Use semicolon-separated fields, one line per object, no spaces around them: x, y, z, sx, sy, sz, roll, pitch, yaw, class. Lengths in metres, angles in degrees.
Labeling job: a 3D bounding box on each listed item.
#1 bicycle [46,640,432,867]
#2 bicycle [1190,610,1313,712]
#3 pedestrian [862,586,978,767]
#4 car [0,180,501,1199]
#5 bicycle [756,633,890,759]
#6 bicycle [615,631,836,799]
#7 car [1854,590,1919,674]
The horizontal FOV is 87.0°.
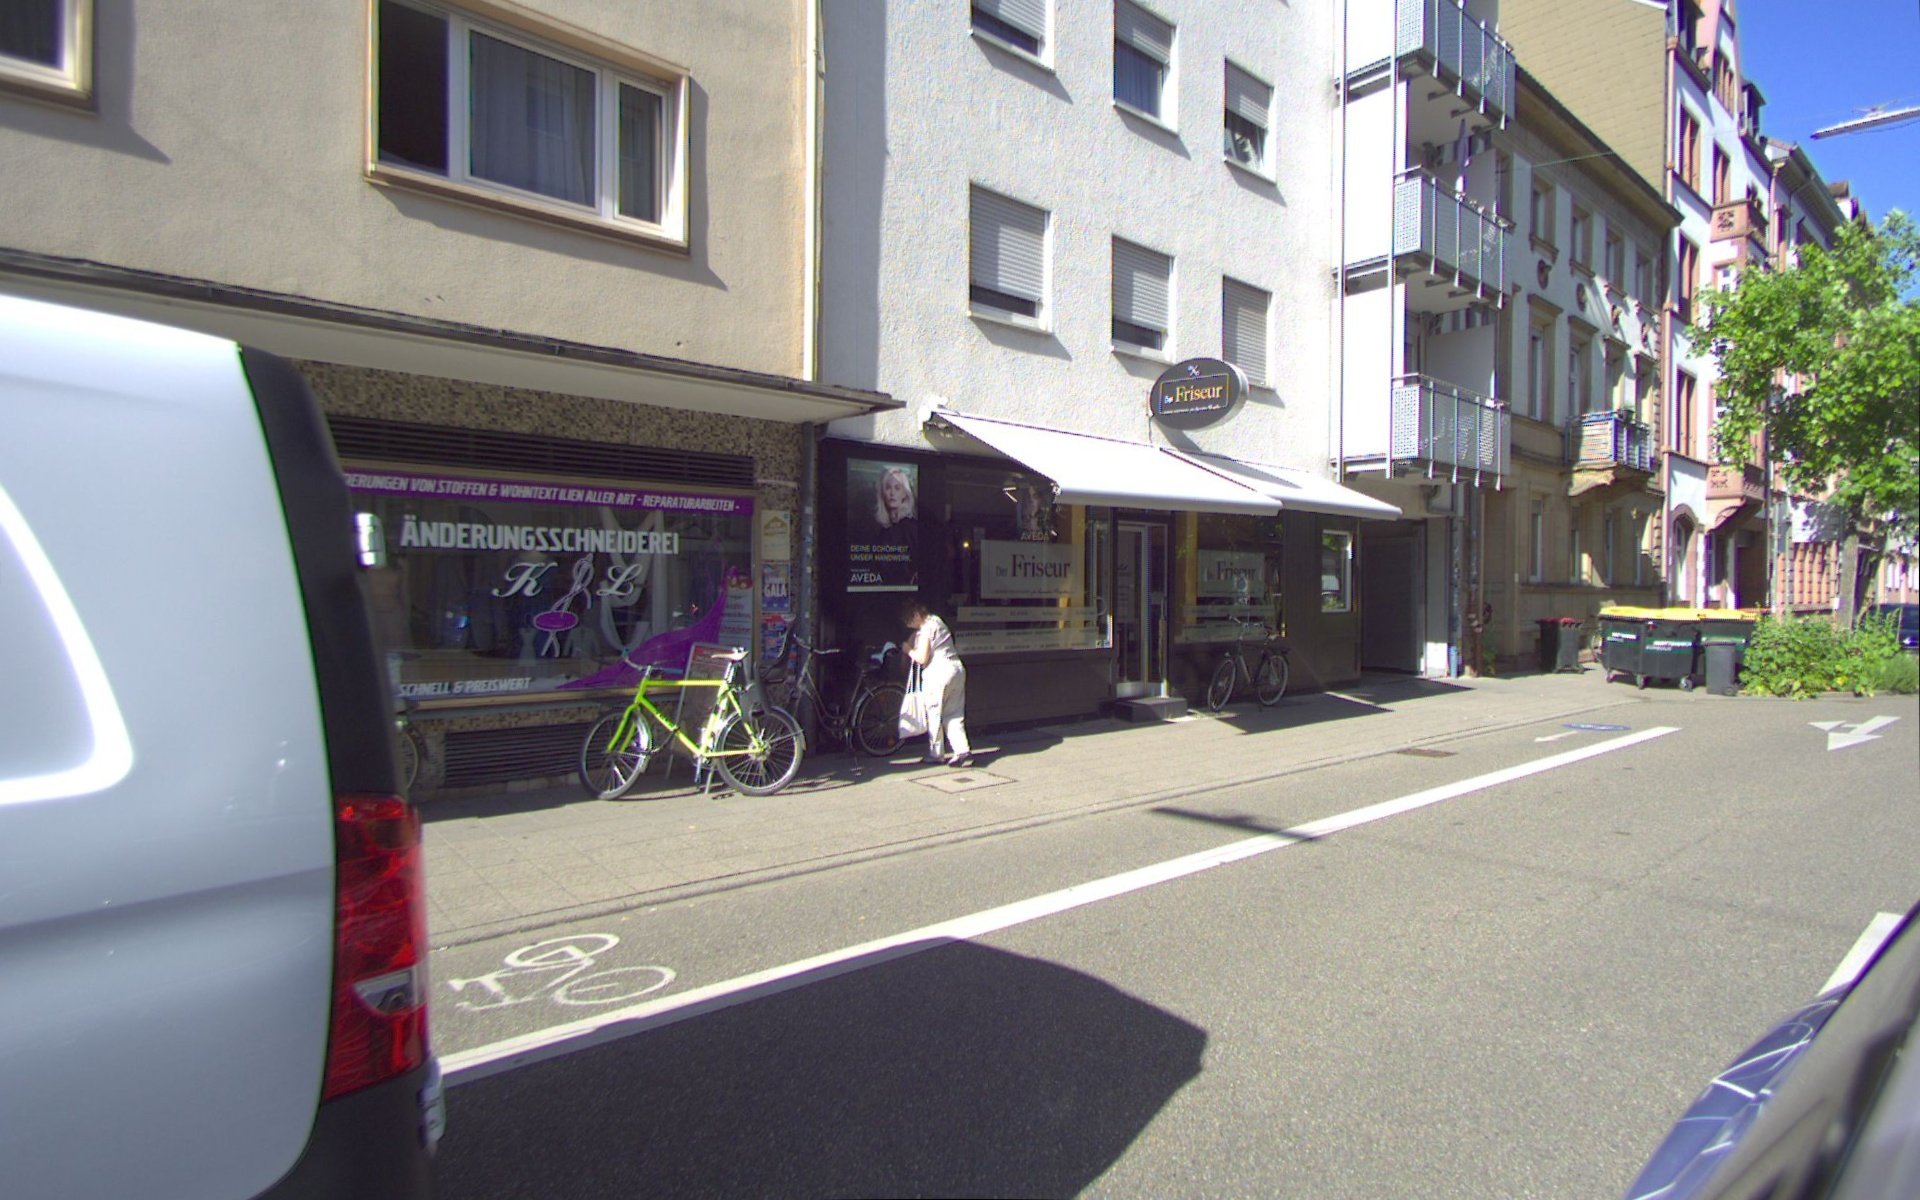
-4.087;0.818;5.875;1.766;1.098;0.408;0;3;-36;bicycle
3.696;0.731;12.771;1.743;1.157;0.598;0;3;-41;bicycle
-0.355;0.627;8.836;0.774;1.459;0.615;4;3;45;pedestrian
-2.980;0.528;0.405;4.750;1.833;1.971;-1;1;-42;car
-1.181;0.810;8.868;1.155;0.995;0.375;0;0;-43;bicycle
-1.766;0.823;7.677;1.475;1.120;0.719;1;0;18;bicycle
19.795;0.607;20.854;3.485;1.616;1.626;0;1;-41;car
